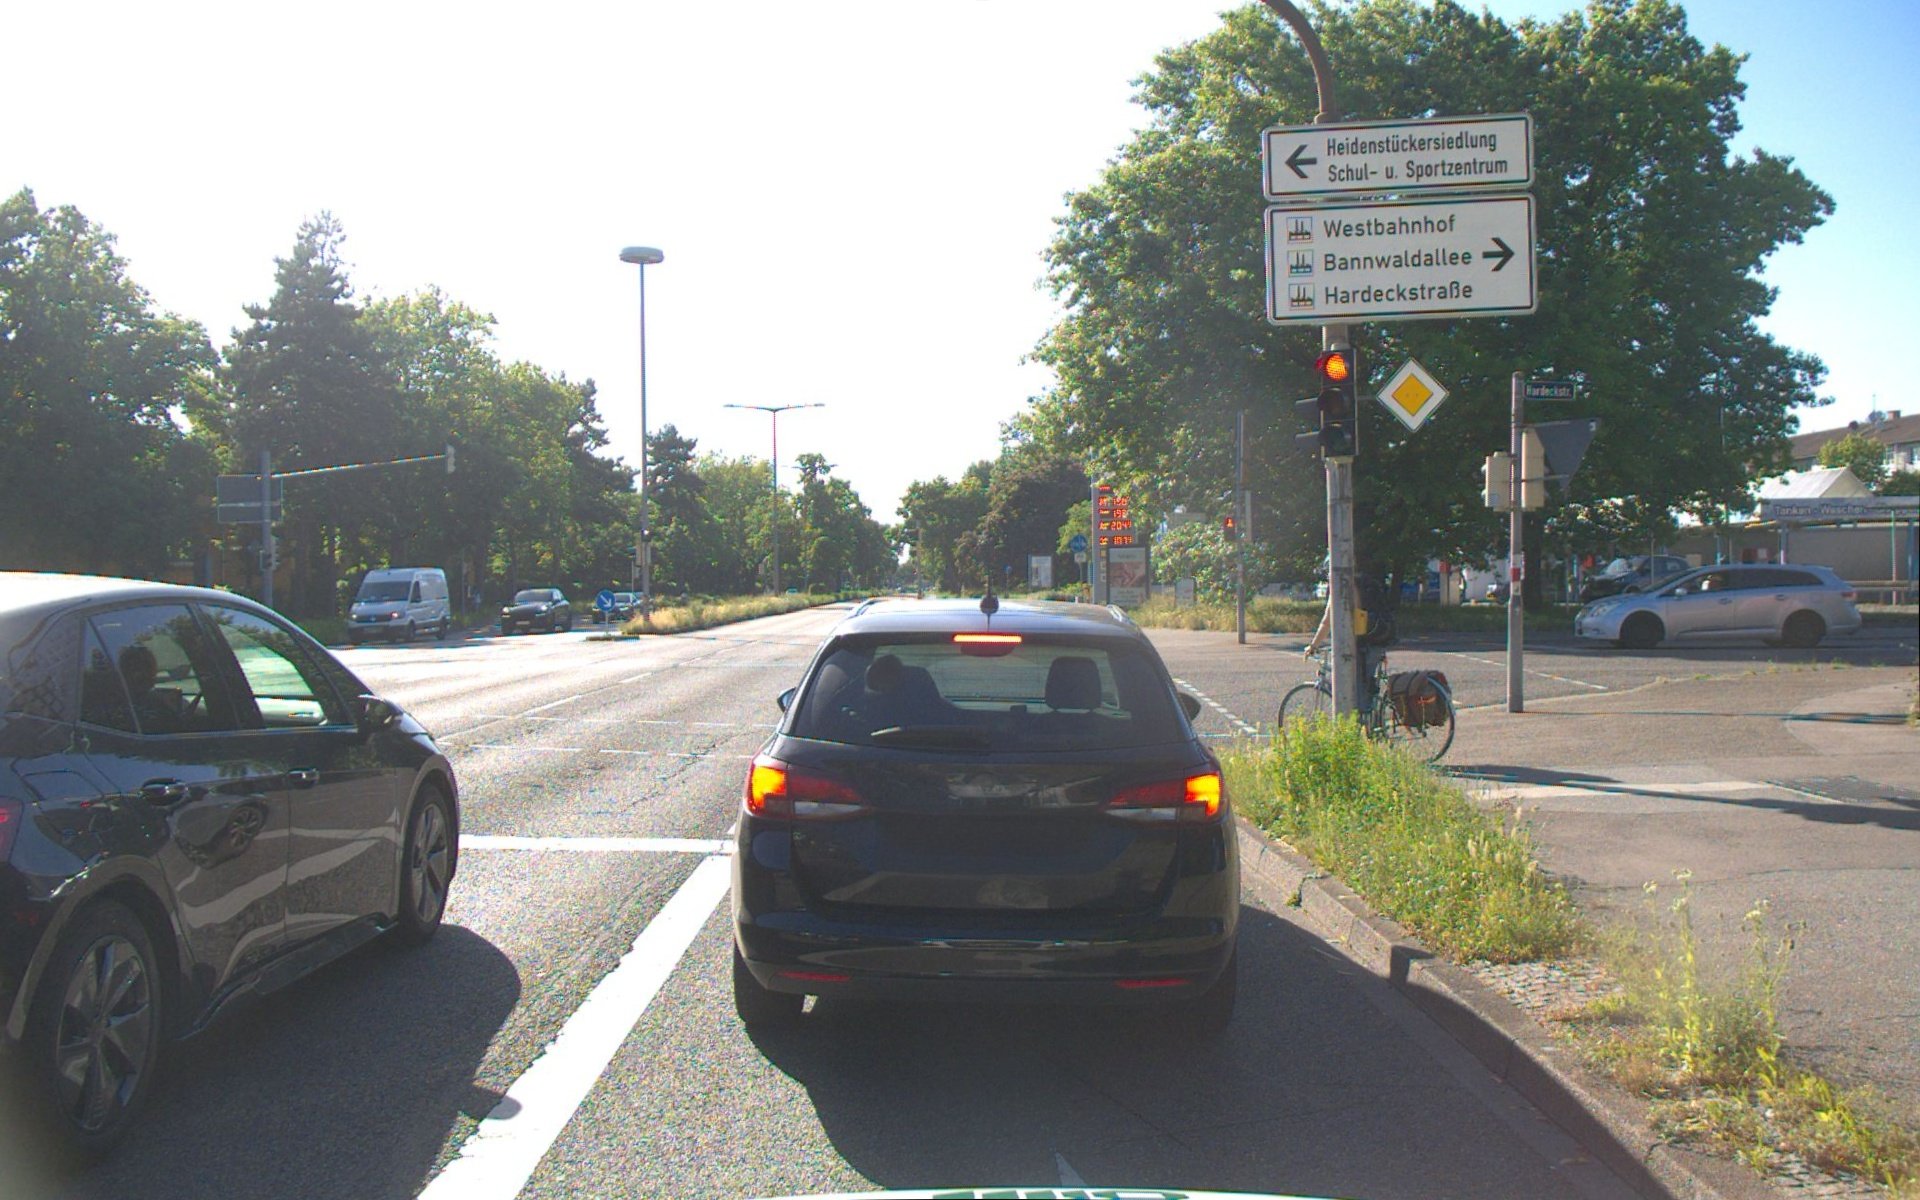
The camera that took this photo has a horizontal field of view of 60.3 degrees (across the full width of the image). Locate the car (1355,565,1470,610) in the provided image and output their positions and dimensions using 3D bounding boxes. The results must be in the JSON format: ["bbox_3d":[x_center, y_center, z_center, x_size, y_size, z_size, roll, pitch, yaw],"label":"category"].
[{"bbox_3d":[16.434,-0.463,60.073,3.837,1.544,1.732,-2,0,-24],"label":"car"}]

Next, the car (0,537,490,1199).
[{"bbox_3d":[-2.999,0.662,5.619,1.650,1.608,4.206,0,0,-1],"label":"car"}]

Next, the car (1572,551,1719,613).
[{"bbox_3d":[19.990,-0.533,48.209,3.934,1.709,1.732,-2,0,-24],"label":"car"}]

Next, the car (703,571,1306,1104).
[{"bbox_3d":[0.102,0.688,6.851,1.721,1.521,4.206,0,0,-1],"label":"car"}]

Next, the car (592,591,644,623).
[{"bbox_3d":[-16.844,0.335,81.545,1.740,1.488,4.164,-1,0,-1],"label":"car"}]

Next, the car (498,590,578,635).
[{"bbox_3d":[-16.404,0.448,64.540,1.953,1.629,4.615,-1,0,-1],"label":"car"}]

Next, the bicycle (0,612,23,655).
[{"bbox_3d":[-27.921,0.983,47.340,0.858,1.233,2.534,-2,0,-4],"label":"bicycle"}]

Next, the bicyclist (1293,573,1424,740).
[{"bbox_3d":[3.219,0.457,13.386,0.534,1.299,0.816,-2,-2,-44],"label":"bicyclist"}]

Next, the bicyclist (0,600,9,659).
[{"bbox_3d":[-27.910,0.857,47.235,0.859,1.677,1.198,-2,0,-6],"label":"bicyclist"}]

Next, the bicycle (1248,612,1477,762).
[{"bbox_3d":[3.226,0.703,13.384,0.533,1.117,1.748,-2,-2,-44],"label":"bicycle"}]

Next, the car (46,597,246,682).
[{"bbox_3d":[-15.745,0.712,32.273,1.652,1.458,4.614,-1,0,-1],"label":"car"}]

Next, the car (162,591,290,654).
[{"bbox_3d":[-19.502,0.564,44.115,1.652,1.535,4.003,-1,0,-1],"label":"car"}]

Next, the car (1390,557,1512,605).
[{"bbox_3d":[16.911,-0.650,56.998,3.837,1.544,1.732,-2,0,-24],"label":"car"}]

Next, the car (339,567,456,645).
[{"bbox_3d":[-19.467,0.174,57.546,2.057,2.536,6.003,-1,0,-1],"label":"car"}]

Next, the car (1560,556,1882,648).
[{"bbox_3d":[13.539,0.032,29.716,4.897,1.512,2.002,-1,0,11],"label":"car"}]

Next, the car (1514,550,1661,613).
[{"bbox_3d":[18.981,-0.567,50.034,3.935,1.780,1.985,-2,1,-24],"label":"car"}]
